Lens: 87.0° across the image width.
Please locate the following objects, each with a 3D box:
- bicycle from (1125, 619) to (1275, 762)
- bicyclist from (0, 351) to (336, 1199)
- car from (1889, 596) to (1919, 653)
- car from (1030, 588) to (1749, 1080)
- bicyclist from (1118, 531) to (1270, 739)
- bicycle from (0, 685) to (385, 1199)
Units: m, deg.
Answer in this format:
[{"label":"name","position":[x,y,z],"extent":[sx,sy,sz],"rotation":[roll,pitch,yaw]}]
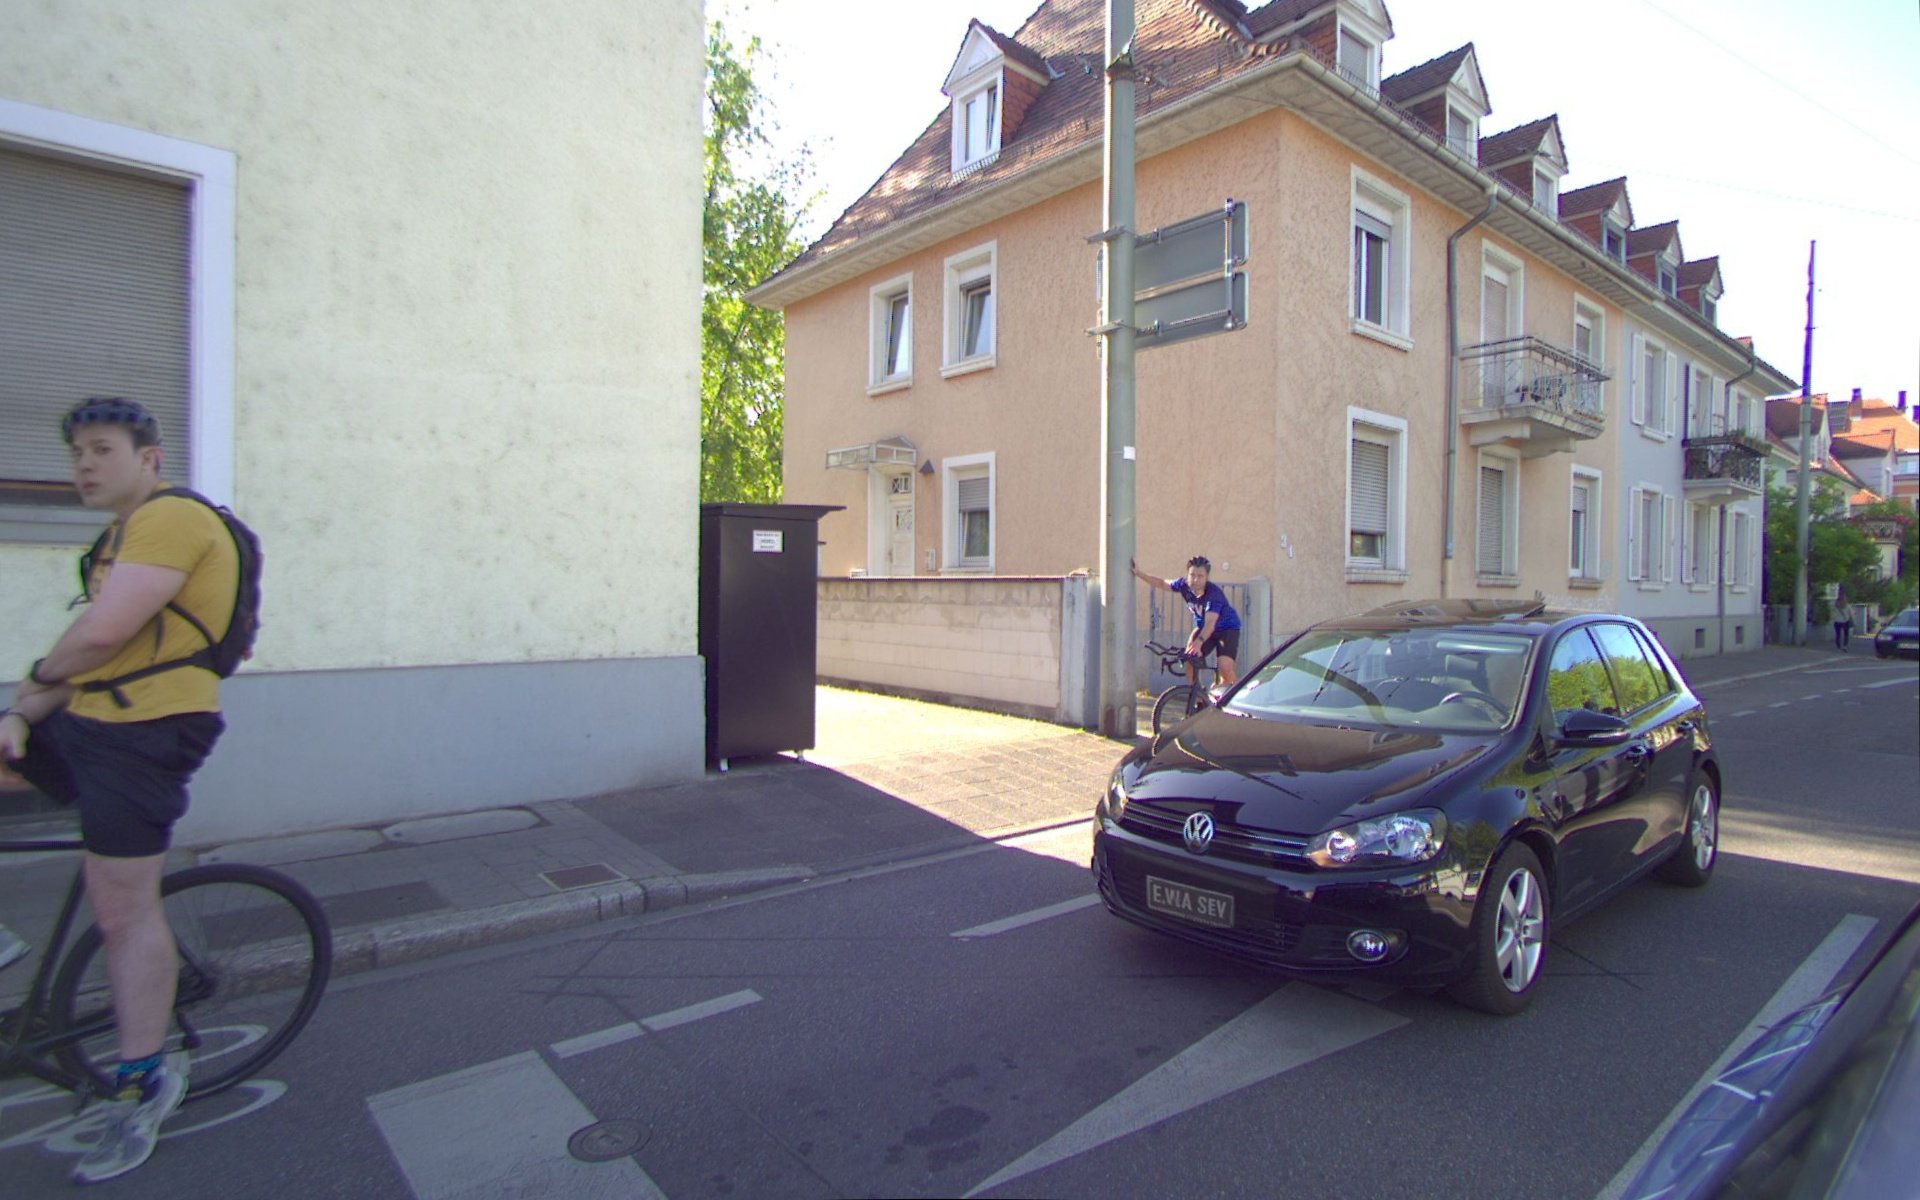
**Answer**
[{"label":"bicycle","position":[2.176,0.756,9.056],"extent":[0.554,1.088,1.601],"rotation":[6,4,42]},{"label":"bicyclist","position":[-2.311,0.428,2.783],"extent":[0.777,1.991,0.768],"rotation":[0,0,36]},{"label":"car","position":[26.754,0.630,27.428],"extent":[4.258,1.448,1.824],"rotation":[-1,0,-40]},{"label":"car","position":[2.331,0.680,4.967],"extent":[3.921,1.456,1.716],"rotation":[-1,0,-41]},{"label":"bicyclist","position":[2.102,0.276,9.121],"extent":[1.018,1.714,0.718],"rotation":[6,4,42]},{"label":"bicycle","position":[-2.575,0.864,2.628],"extent":[0.777,1.120,1.720],"rotation":[0,0,36]}]
